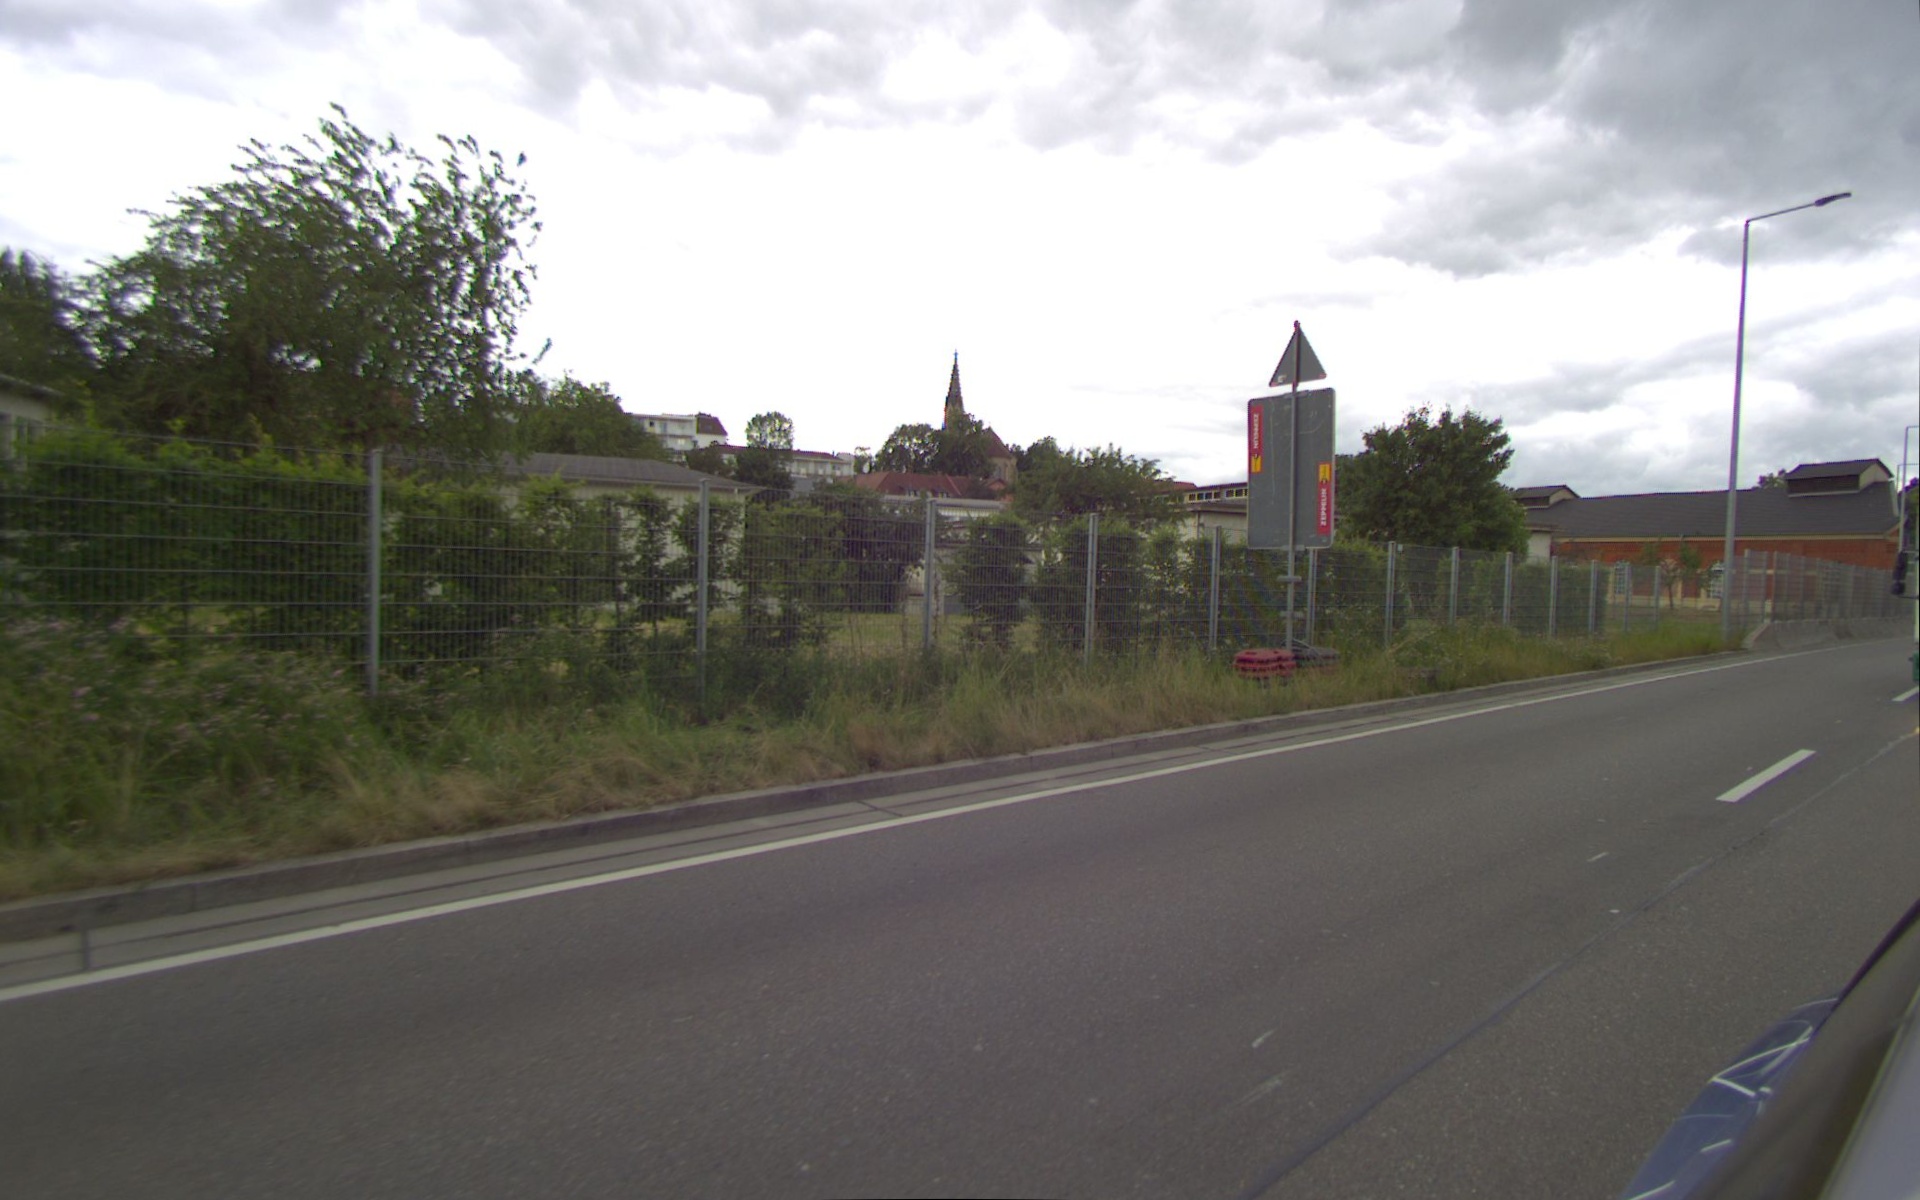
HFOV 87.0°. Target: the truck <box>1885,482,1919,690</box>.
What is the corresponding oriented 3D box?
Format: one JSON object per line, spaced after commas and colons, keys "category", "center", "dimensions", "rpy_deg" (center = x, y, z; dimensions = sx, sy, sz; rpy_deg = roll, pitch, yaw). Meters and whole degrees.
{"category": "truck", "center": [18.215, -0.232, 17.158], "dimensions": [8.243, 3.121, 2.940], "rpy_deg": [0, 0, -42]}
